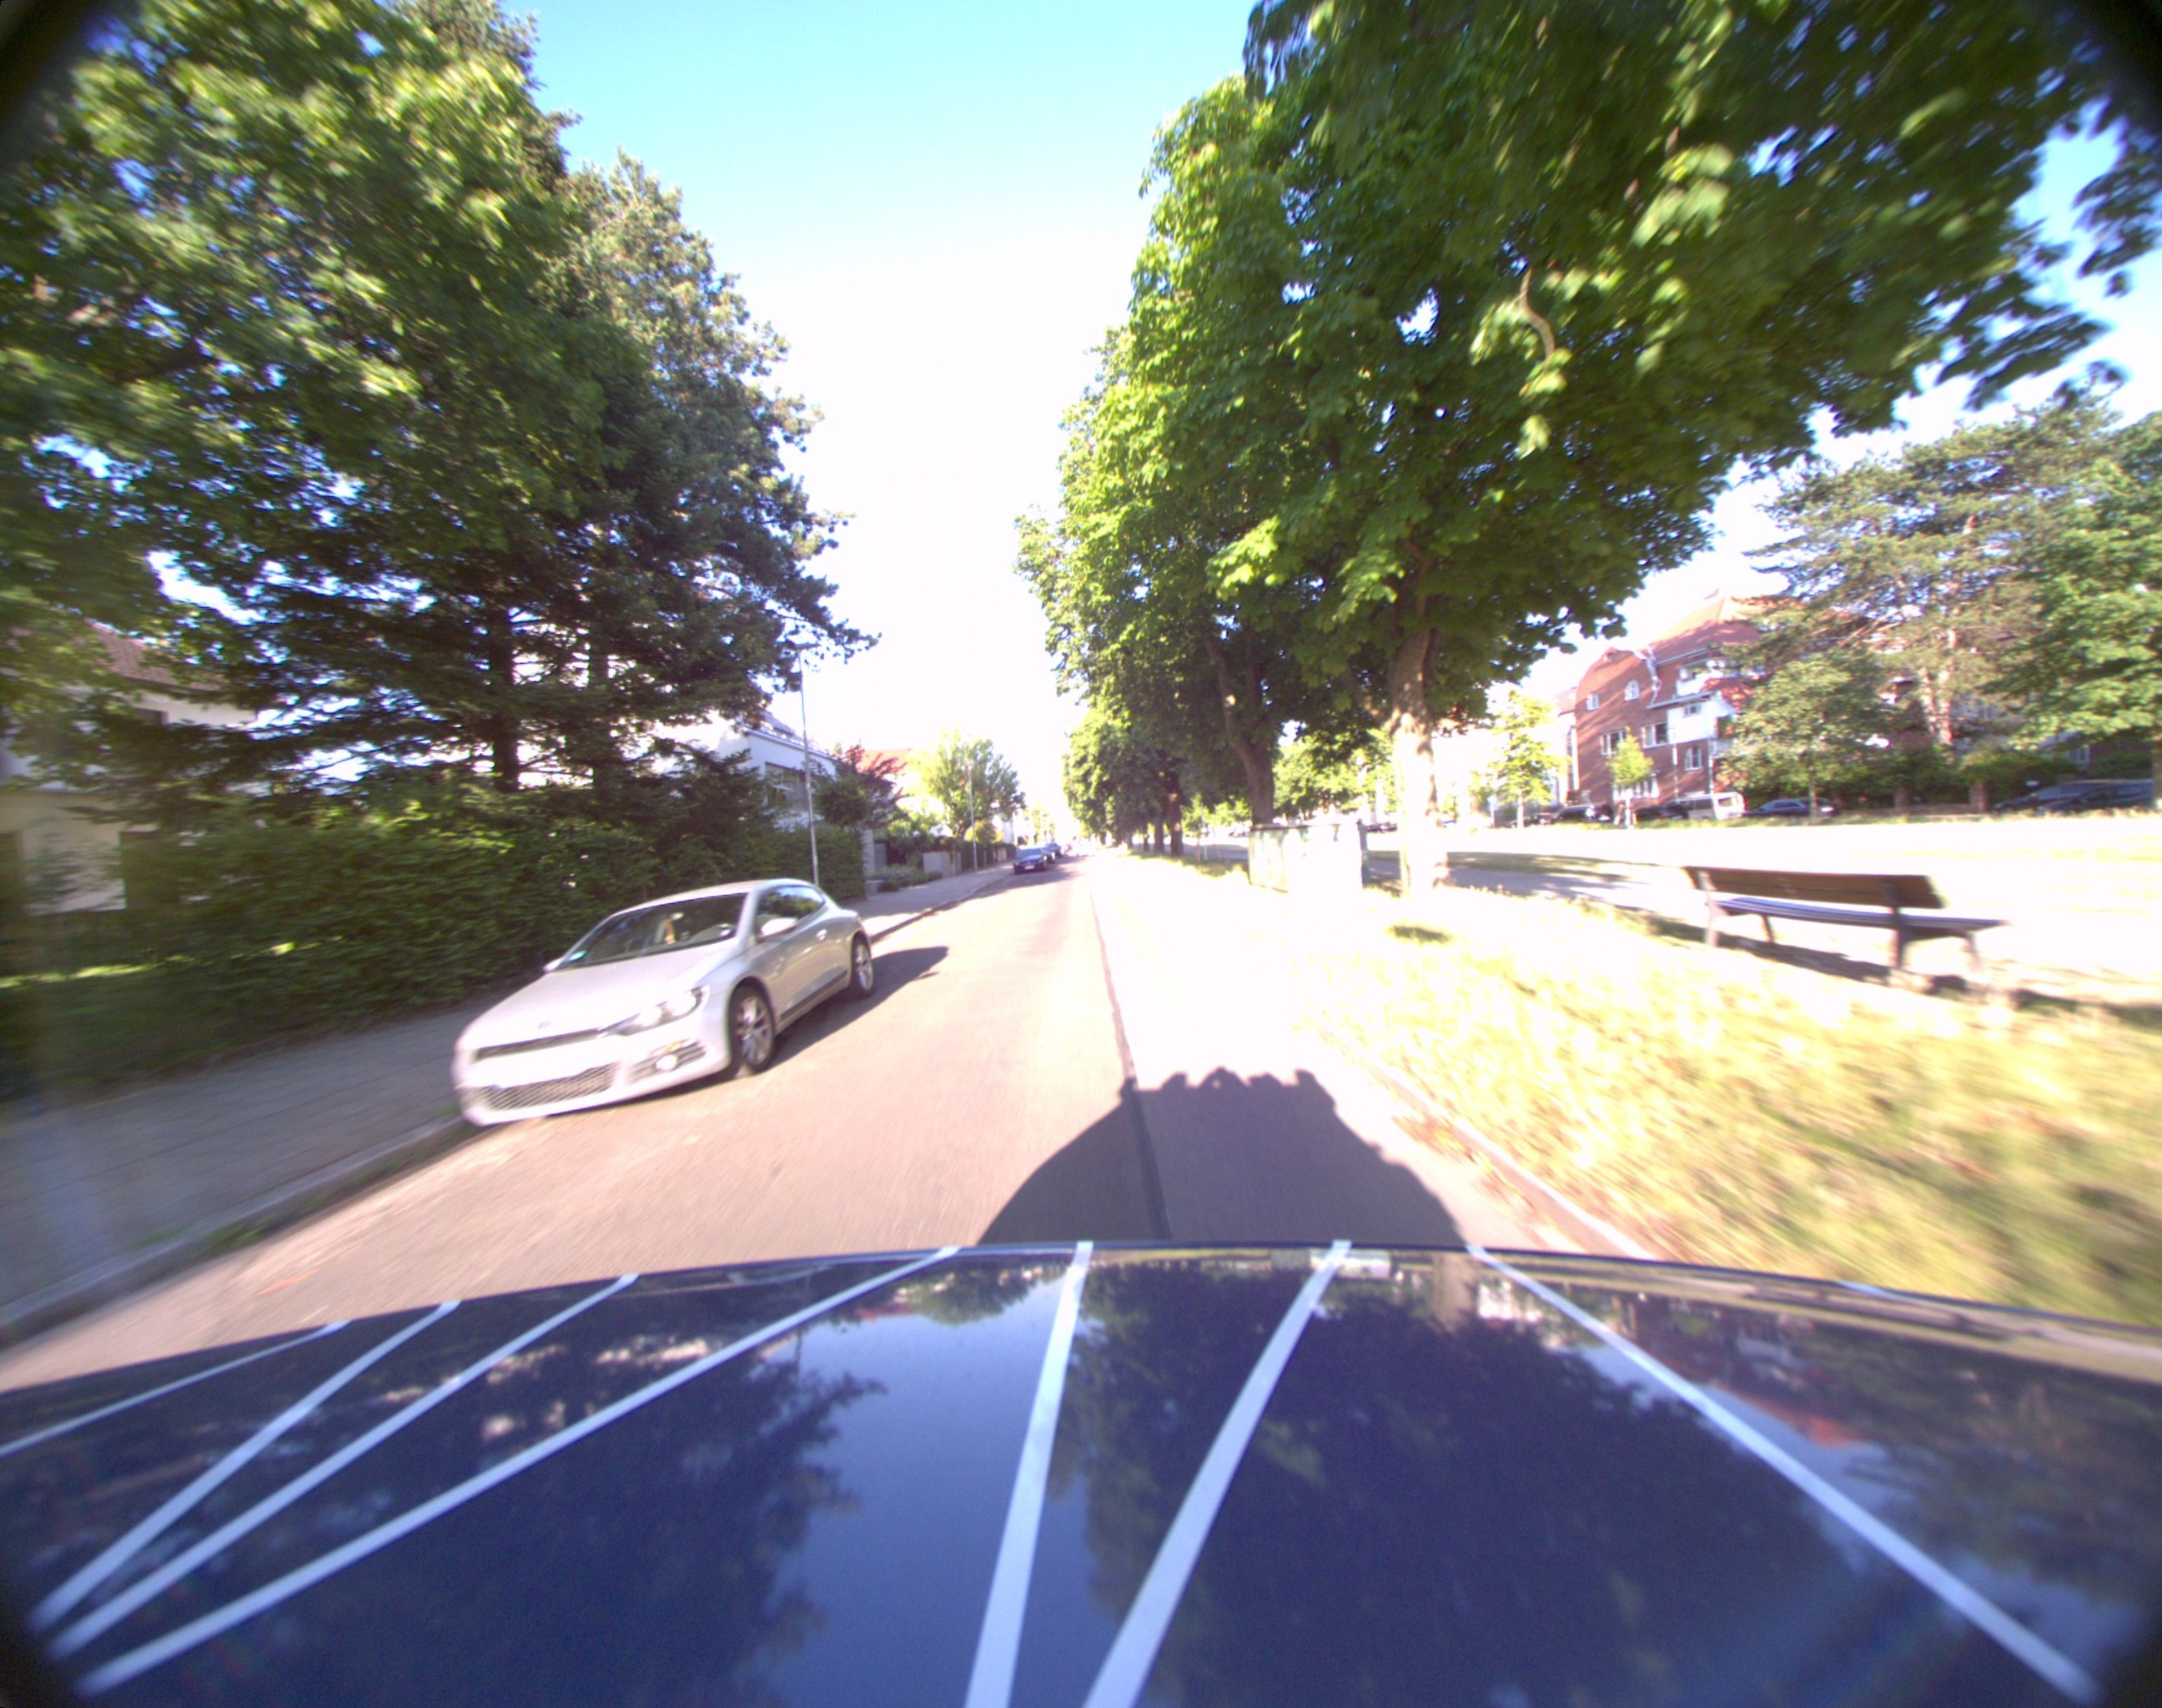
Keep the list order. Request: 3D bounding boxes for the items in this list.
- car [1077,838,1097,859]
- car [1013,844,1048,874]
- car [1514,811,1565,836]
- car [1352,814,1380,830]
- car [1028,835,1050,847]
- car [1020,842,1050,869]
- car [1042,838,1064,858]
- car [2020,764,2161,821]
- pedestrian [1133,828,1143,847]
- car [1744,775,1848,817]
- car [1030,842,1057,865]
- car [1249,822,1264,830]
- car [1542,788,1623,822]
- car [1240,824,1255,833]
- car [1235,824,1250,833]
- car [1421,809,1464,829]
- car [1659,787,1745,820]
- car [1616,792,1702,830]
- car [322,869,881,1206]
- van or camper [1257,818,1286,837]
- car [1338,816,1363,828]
[{"bbox_3d":[0.649,-0.616,83.404,1.998,2.002,3.999,-5,2,0],"label":"car"},{"bbox_3d":[-2.822,0.244,43.614,1.753,1.468,4.286,-6,2,-2],"label":"car"},{"bbox_3d":[39.736,-2.614,65.965,1.761,2.002,4.367,-4,1,1],"label":"car"},{"bbox_3d":[40.036,-4.512,106.806,1.999,2.002,4.427,-4,2,-1],"label":"car"},{"bbox_3d":[-8.159,-2.573,147.995,3.998,1.917,1.999,-5,2,-3],"label":"car"},{"bbox_3d":[-2.962,0.062,49.013,1.696,1.475,3.927,-8,2,-3],"label":"car"},{"bbox_3d":[-2.850,-0.640,78.188,1.999,1.728,4.861,-8,2,-1],"label":"car"},{"bbox_3d":[34.022,-2.004,24.736,1.998,1.674,3.999,-5,2,3],"label":"car"},{"bbox_3d":[5.334,-1.548,70.946,0.726,1.748,0.993,-5,2,7],"label":"pedestrian"},{"bbox_3d":[39.624,-3.175,42.237,1.998,2.002,3.999,-4,1,2],"label":"car"},{"bbox_3d":[-2.876,-0.101,59.050,1.798,1.484,4.672,-5,2,0],"label":"car"},{"bbox_3d":[40.009,-6.311,173.427,1.999,1.681,4.873,-4,2,-2],"label":"car"},{"bbox_3d":[33.993,-3.271,51.701,1.998,1.929,5.245,-4,1,1],"label":"car"},{"bbox_3d":[34.721,-5.255,158.268,1.998,1.681,4.874,-4,2,1],"label":"car"},{"bbox_3d":[34.824,-5.468,163.831,1.998,1.681,4.874,-4,2,1],"label":"car"},{"bbox_3d":[34.073,-3.251,71.794,1.824,1.630,4.649,-4,1,0],"label":"car"},{"bbox_3d":[39.676,-3.182,48.695,1.821,1.827,4.407,-4,1,1],"label":"car"},{"bbox_3d":[34.181,-2.496,45.081,1.998,2.002,3.999,-5,2,1],"label":"car"},{"bbox_3d":[-3.215,1.078,6.286,1.761,1.412,4.071,-10,2,1],"label":"car"},{"bbox_3d":[34.622,-4.819,138.345,3.262,3.093,7.894,-4,2,1],"label":"van or camper"},{"bbox_3d":[39.814,-4.714,112.507,1.999,1.643,4.427,-4,2,-1],"label":"car"}]
